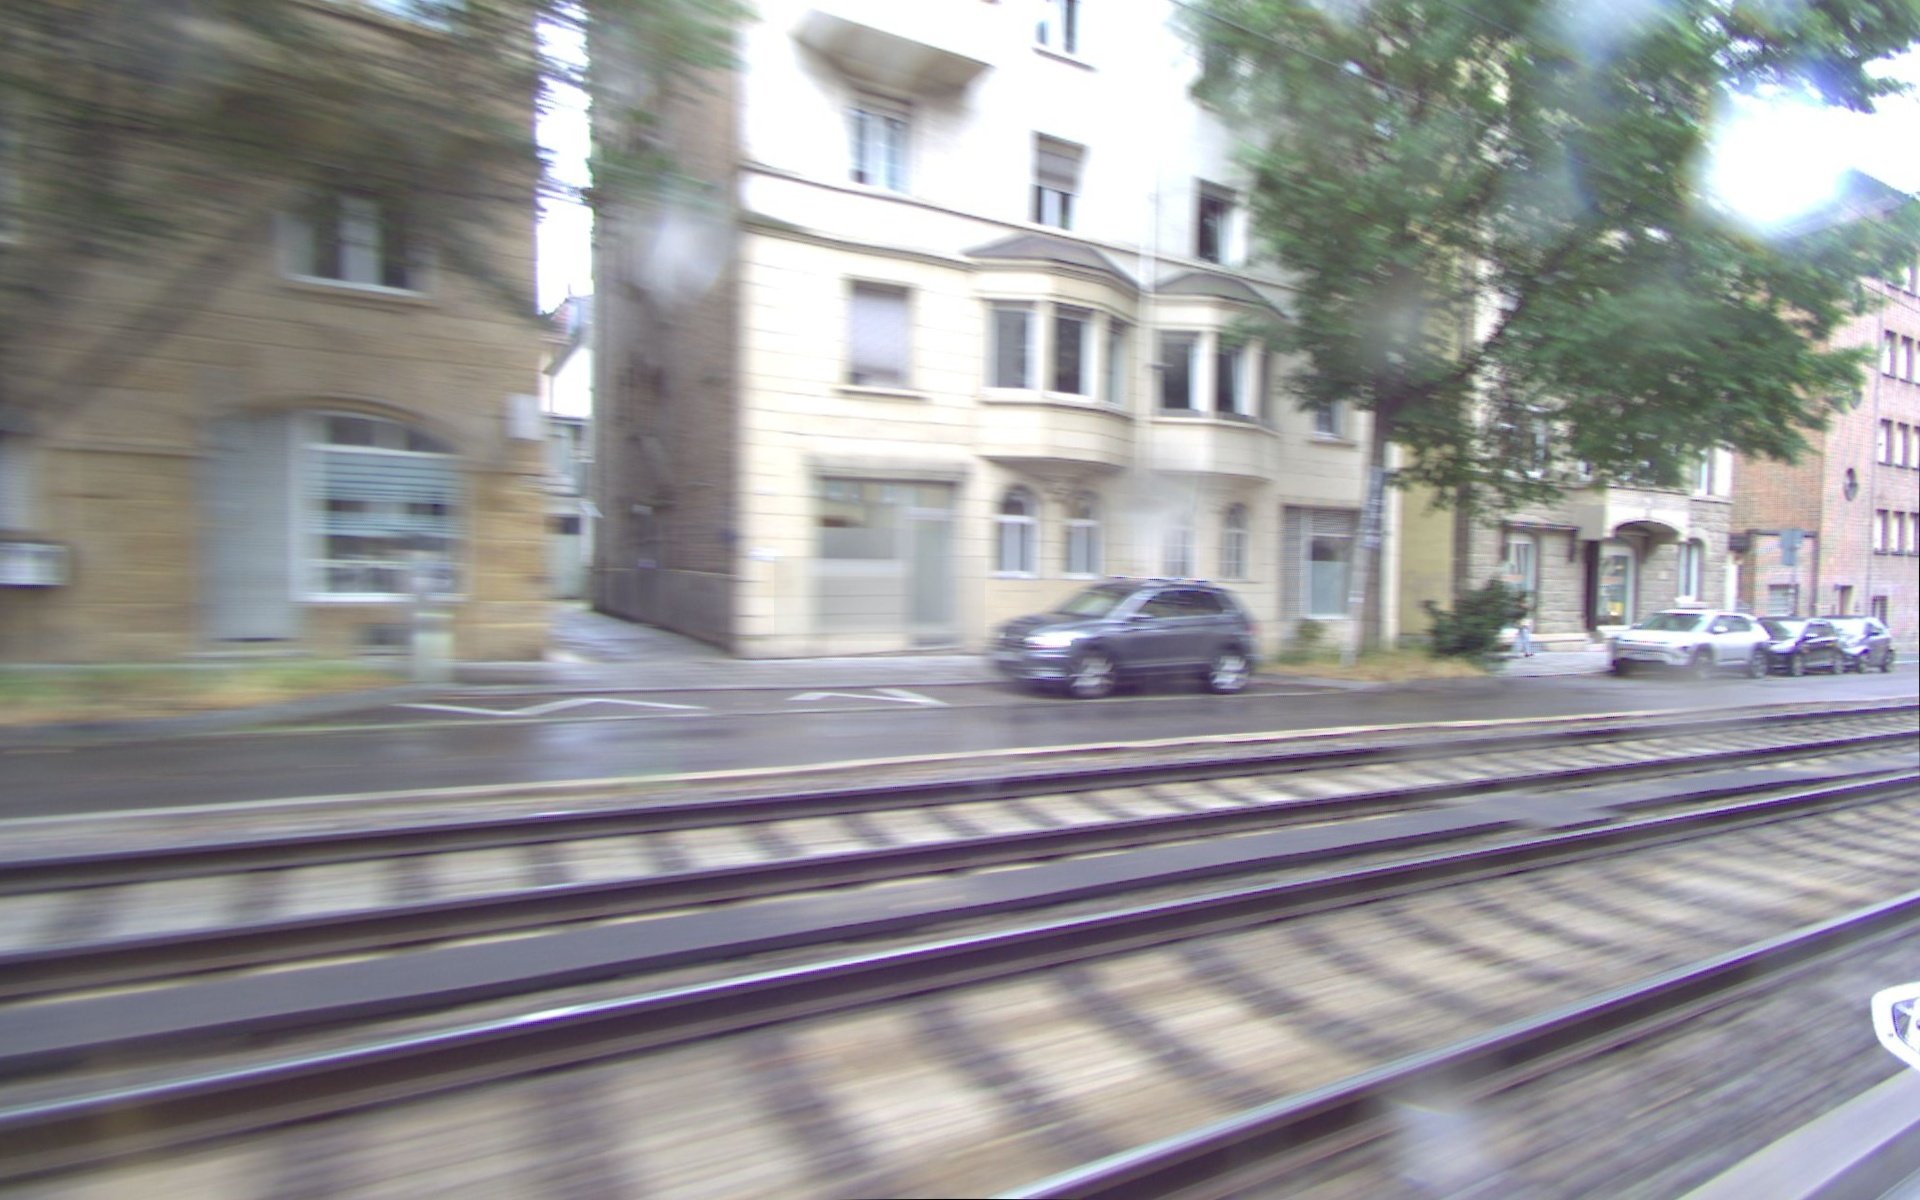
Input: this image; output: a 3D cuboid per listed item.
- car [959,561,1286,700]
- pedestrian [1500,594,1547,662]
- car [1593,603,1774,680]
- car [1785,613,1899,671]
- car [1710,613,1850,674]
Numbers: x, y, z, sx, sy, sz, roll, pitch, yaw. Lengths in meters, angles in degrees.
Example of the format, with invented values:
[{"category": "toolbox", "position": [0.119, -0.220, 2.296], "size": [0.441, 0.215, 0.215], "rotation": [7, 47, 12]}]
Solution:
[{"category": "car", "position": [2.526, 0.402, 15.231], "size": [4.725, 1.765, 1.942], "rotation": [1, 4, -32]}, {"category": "pedestrian", "position": [14.311, 0.708, 25.519], "size": [0.762, 1.685, 0.724], "rotation": [1, 1, -30]}, {"category": "car", "position": [17.228, 0.946, 23.885], "size": [4.279, 1.627, 1.951], "rotation": [1, 1, -31]}, {"category": "car", "position": [24.788, 1.150, 28.221], "size": [3.010, 1.486, 1.564], "rotation": [1, 1, -31]}, {"category": "car", "position": [21.555, 1.113, 26.382], "size": [3.644, 1.434, 1.658], "rotation": [1, 1, -31]}]
